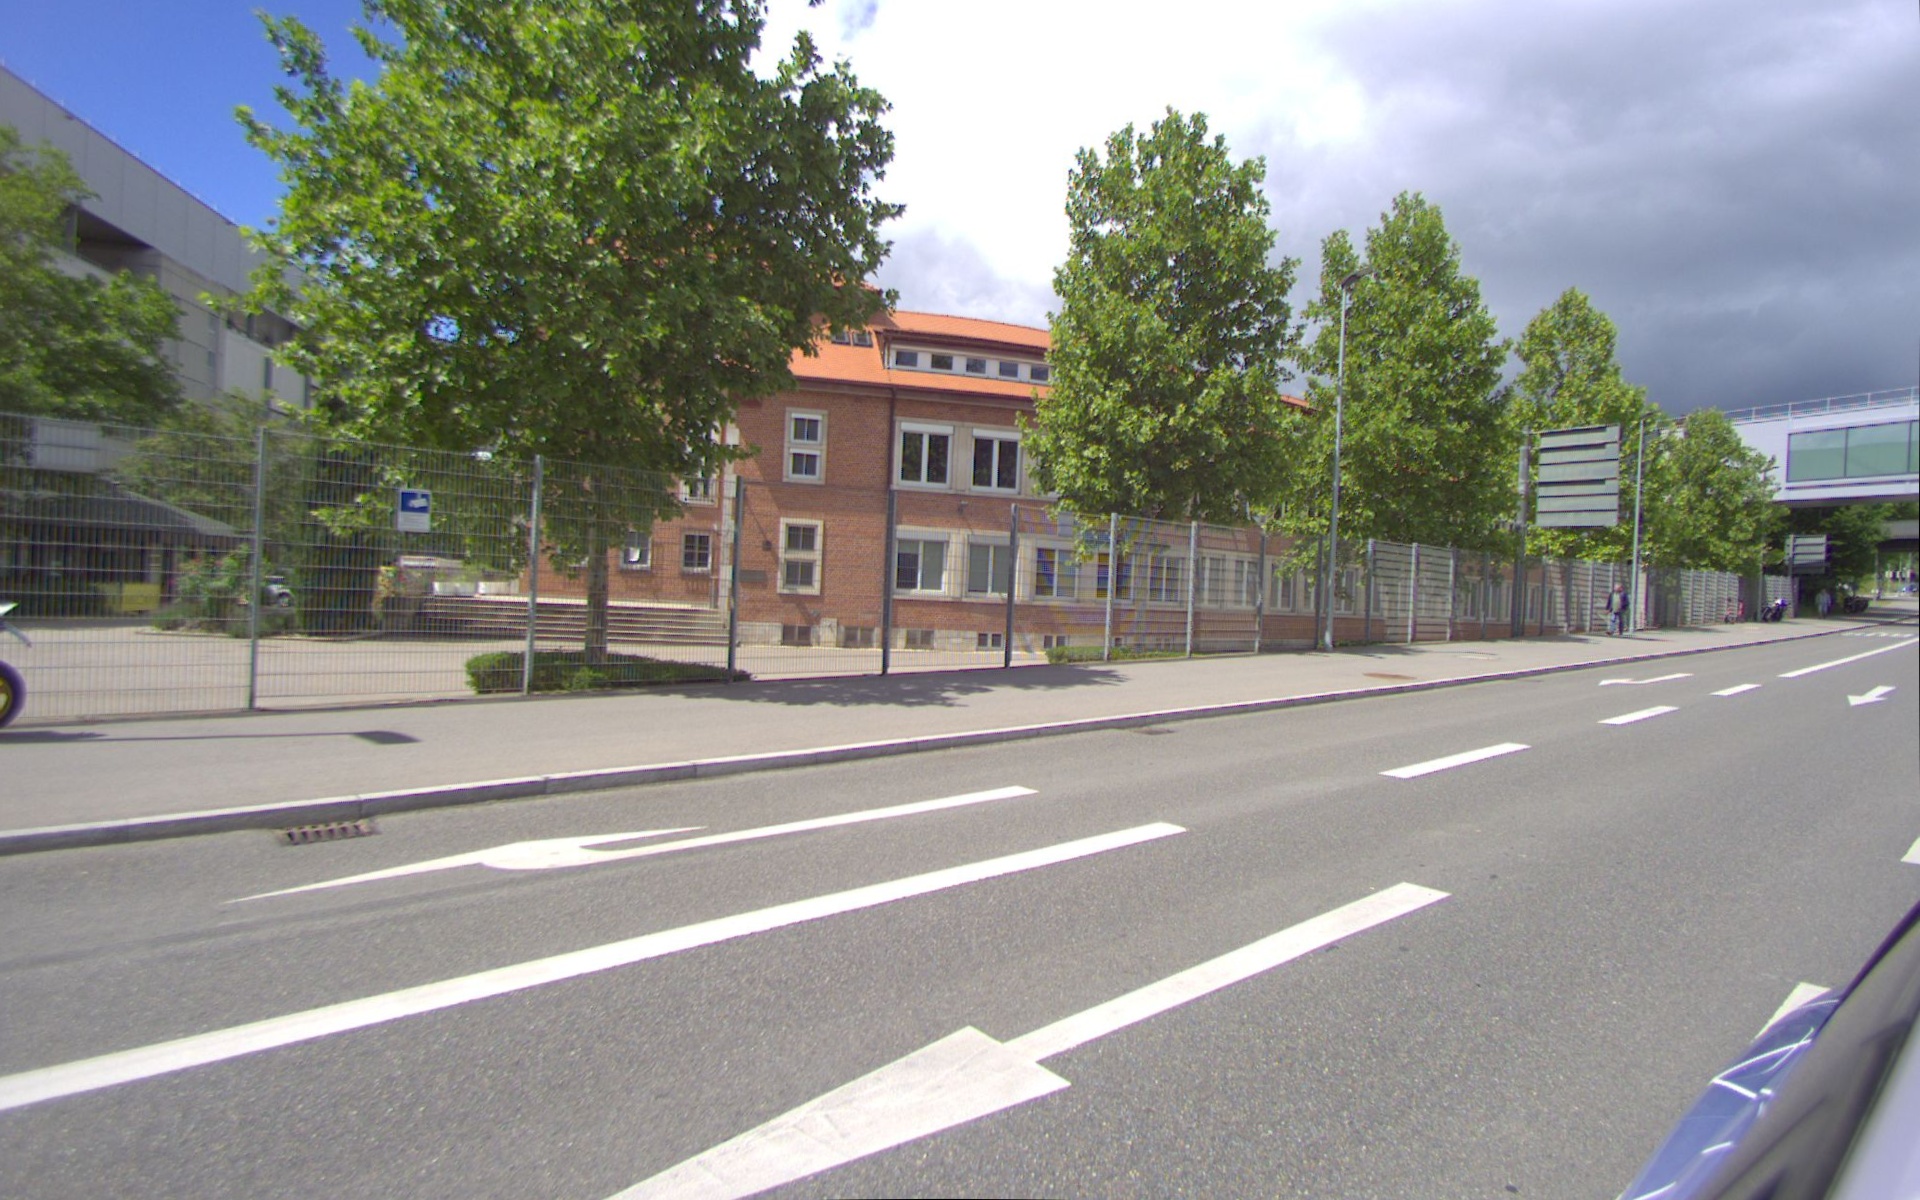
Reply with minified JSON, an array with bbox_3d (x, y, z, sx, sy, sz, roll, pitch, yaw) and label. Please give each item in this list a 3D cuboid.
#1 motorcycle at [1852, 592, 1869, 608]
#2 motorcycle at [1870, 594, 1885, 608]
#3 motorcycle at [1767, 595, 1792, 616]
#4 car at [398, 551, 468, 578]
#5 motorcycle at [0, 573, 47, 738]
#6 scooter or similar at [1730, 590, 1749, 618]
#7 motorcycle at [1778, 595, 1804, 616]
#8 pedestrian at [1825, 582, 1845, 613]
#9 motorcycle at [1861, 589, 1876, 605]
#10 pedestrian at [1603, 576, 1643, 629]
[{"bbox_3d":[68.034,0.019,76.457,2.076,1.168,0.679,0,2,-41],"label":"motorcycle"},{"bbox_3d":[72.418,0.056,79.845,2.144,1.096,0.679,0,2,-43],"label":"motorcycle"},{"bbox_3d":[44.151,0.281,54.489,2.209,1.077,0.669,0,4,-43],"label":"motorcycle"},{"bbox_3d":[-36.319,-2.451,69.823,3.916,1.805,2.004,-1,1,-13],"label":"car"},{"bbox_3d":[-7.765,0.400,7.003,0.693,1.172,2.113,4,3,44],"label":"motorcycle"},{"bbox_3d":[38.602,0.191,50.095,1.314,1.310,0.492,0,2,-42],"label":"scooter or similar"},{"bbox_3d":[46.438,0.294,56.545,2.467,1.077,0.709,0,4,-43],"label":"motorcycle"},{"bbox_3d":[55.113,-0.152,63.725,1.078,1.911,0.790,0,2,-43],"label":"pedestrian"},{"bbox_3d":[69.947,-0.228,77.901,2.124,1.157,0.679,0,2,-43],"label":"motorcycle"},{"bbox_3d":[23.142,0.087,35.306,0.924,1.764,0.879,0,3,-42],"label":"pedestrian"}]
